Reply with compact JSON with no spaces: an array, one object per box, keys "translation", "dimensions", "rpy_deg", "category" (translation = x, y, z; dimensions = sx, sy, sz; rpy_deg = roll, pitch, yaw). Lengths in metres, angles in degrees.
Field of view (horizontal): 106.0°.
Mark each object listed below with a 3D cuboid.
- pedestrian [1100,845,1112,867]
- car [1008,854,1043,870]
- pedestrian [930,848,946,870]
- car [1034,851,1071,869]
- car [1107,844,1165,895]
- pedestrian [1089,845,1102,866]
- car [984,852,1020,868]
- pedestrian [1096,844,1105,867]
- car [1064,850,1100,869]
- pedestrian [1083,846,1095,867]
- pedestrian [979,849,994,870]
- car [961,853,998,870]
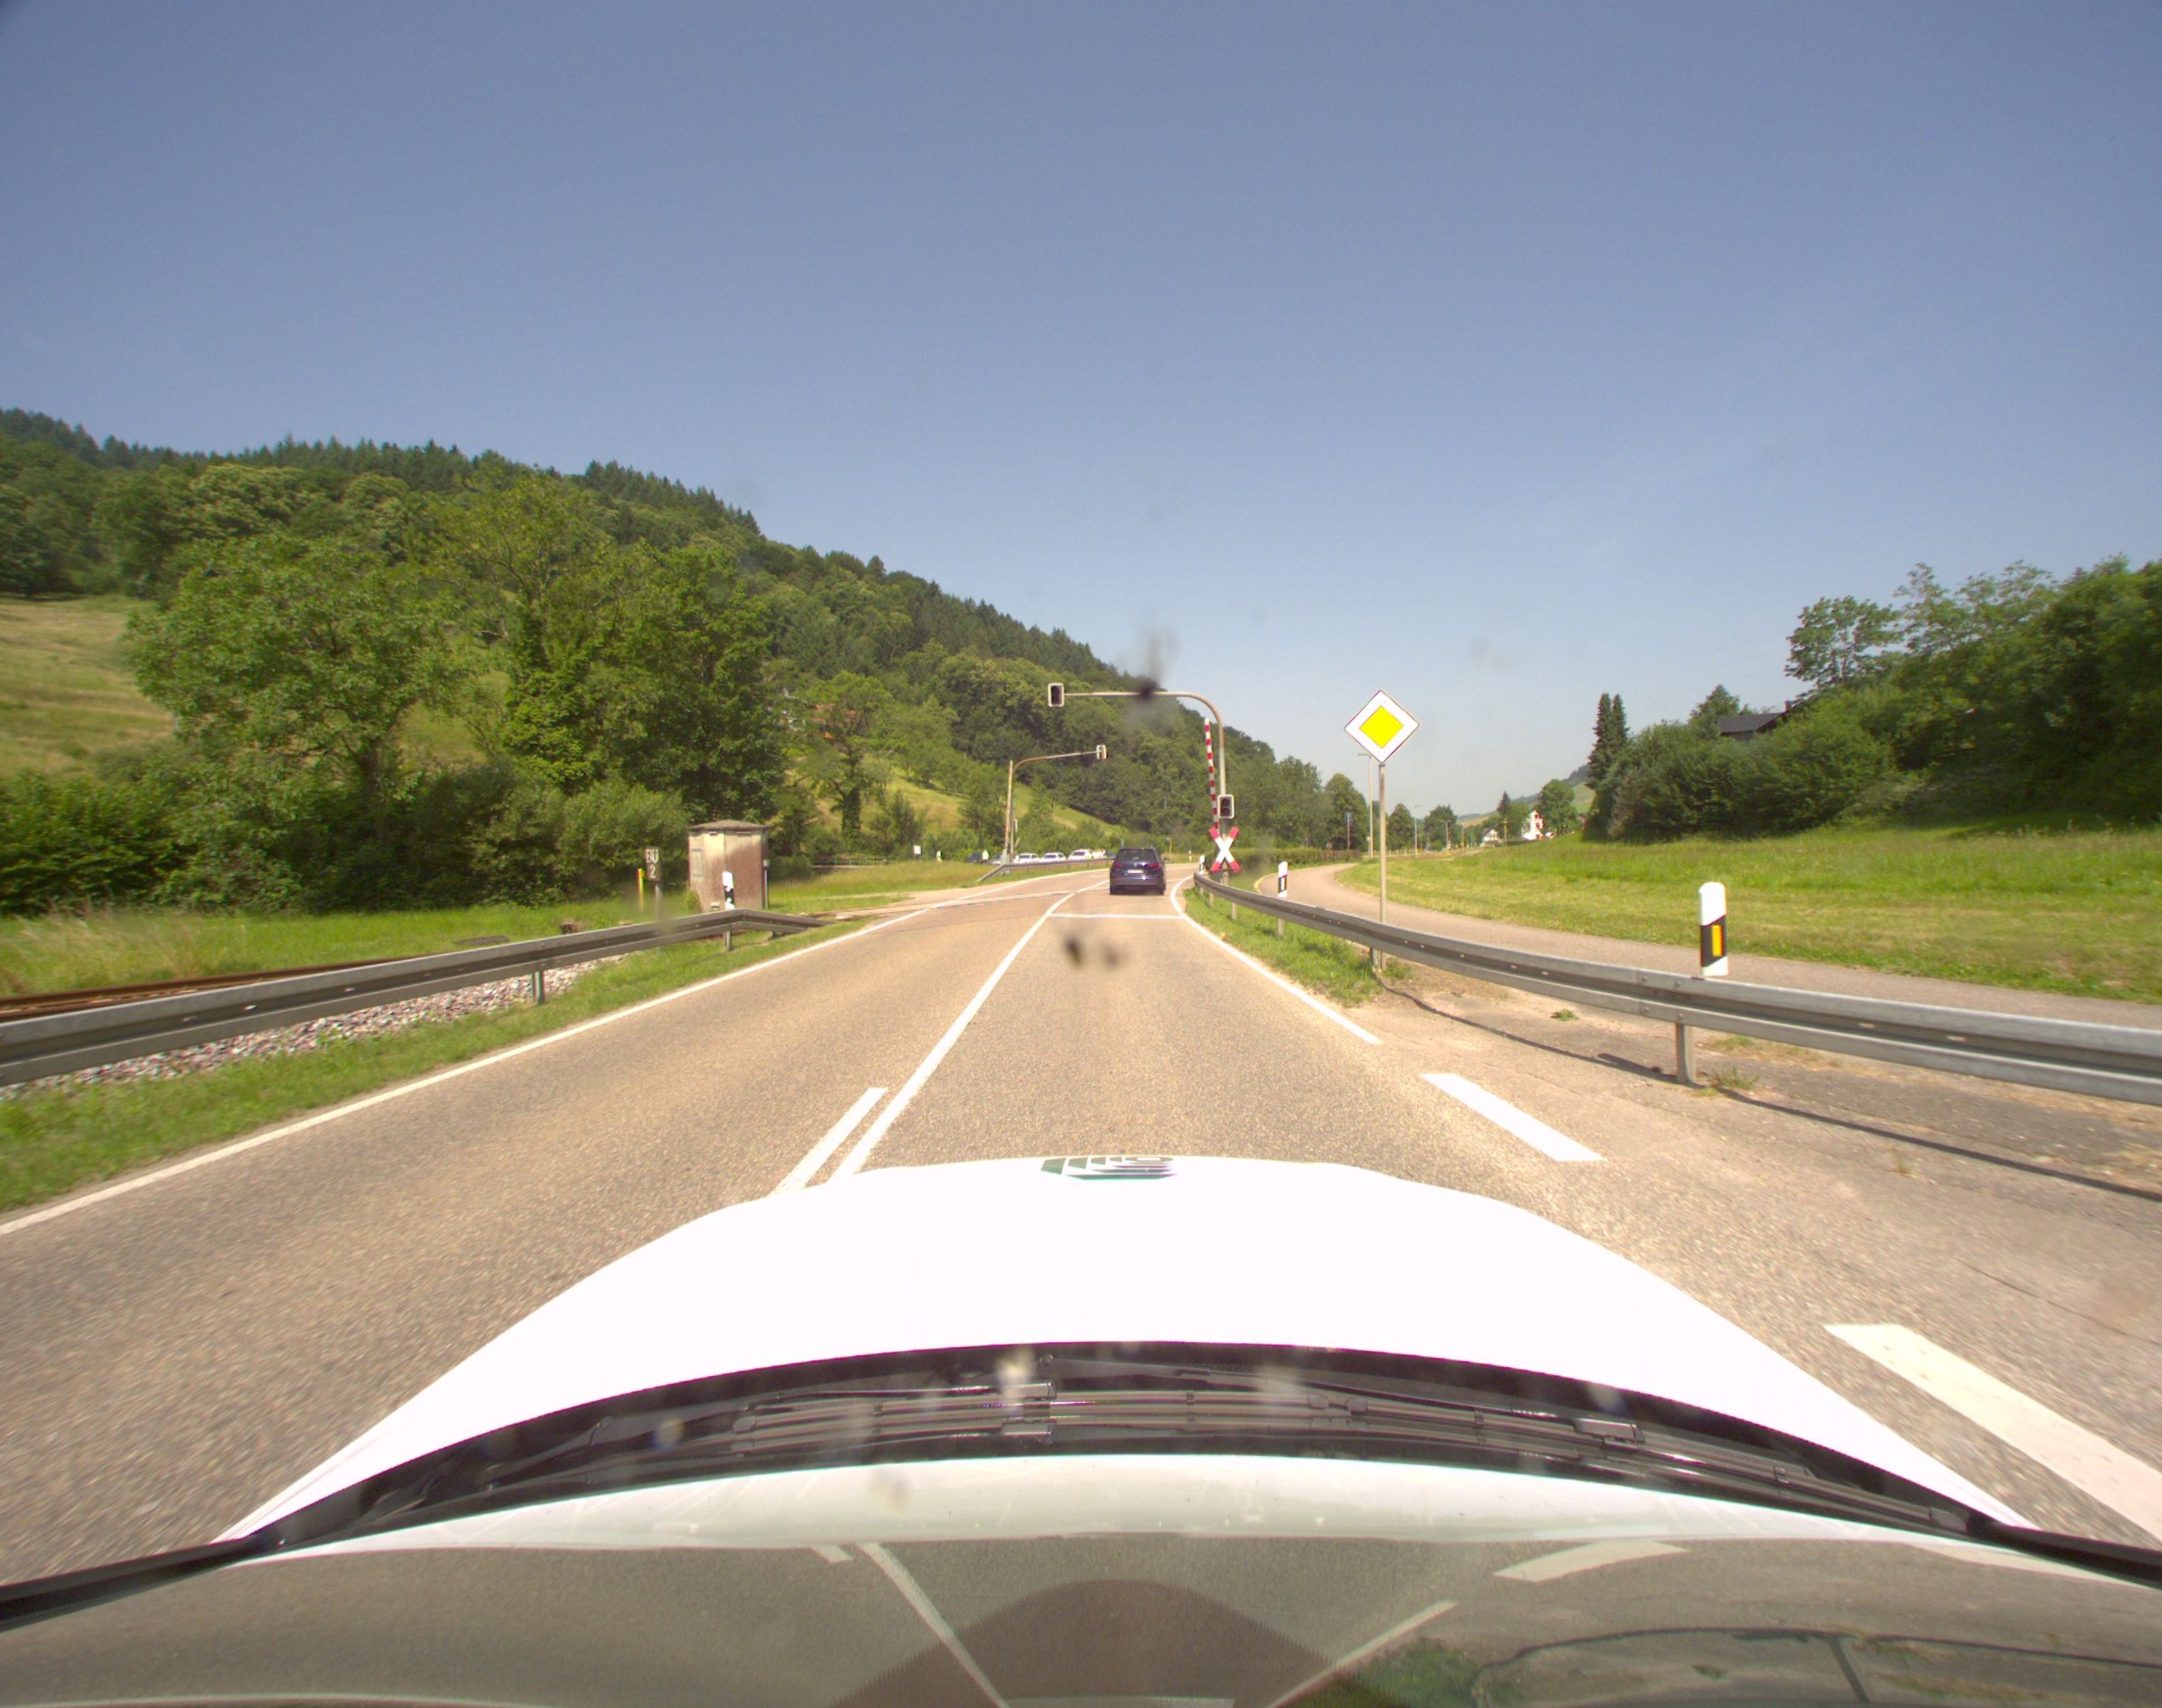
[{"translation":[2.187,0.173,71.052],"dimensions":[0.775,1.859,0.641],"rpy_deg":[-2,-1,-39],"category":"pedestrian"},{"translation":[-5.362,0.758,79.101],"dimensions":[1.978,1.500,4.540],"rpy_deg":[-2,0,16],"category":"car"},{"translation":[-13.331,0.470,76.053],"dimensions":[1.115,1.969,0.867],"rpy_deg":[-3,-1,40],"category":"pedestrian"},{"translation":[-2.692,0.563,78.777],"dimensions":[1.978,1.641,4.924],"rpy_deg":[-2,0,18],"category":"car"},{"translation":[1.998,0.504,28.401],"dimensions":[1.843,1.649,4.147],"rpy_deg":[0,0,6],"category":"car"},{"translation":[1.302,0.146,71.486],"dimensions":[0.761,1.796,0.798],"rpy_deg":[-3,-1,44],"category":"pedestrian"},{"translation":[-7.721,0.556,79.932],"dimensions":[1.979,1.500,4.540],"rpy_deg":[0,0,16],"category":"car"},{"translation":[1.728,0.111,70.602],"dimensions":[0.656,1.955,0.534],"rpy_deg":[-2,0,8],"category":"pedestrian"},{"translation":[0.107,0.519,78.348],"dimensions":[1.855,1.782,4.797],"rpy_deg":[-1,0,21],"category":"car"},{"translation":[0.699,0.207,70.426],"dimensions":[0.780,1.842,0.703],"rpy_deg":[-1,0,28],"category":"pedestrian"},{"translation":[-8.537,0.505,73.600],"dimensions":[0.947,1.794,1.004],"rpy_deg":[-2,0,15],"category":"pedestrian"},{"translation":[-10.060,0.726,80.767],"dimensions":[1.978,1.500,4.540],"rpy_deg":[-2,0,16],"category":"car"}]
